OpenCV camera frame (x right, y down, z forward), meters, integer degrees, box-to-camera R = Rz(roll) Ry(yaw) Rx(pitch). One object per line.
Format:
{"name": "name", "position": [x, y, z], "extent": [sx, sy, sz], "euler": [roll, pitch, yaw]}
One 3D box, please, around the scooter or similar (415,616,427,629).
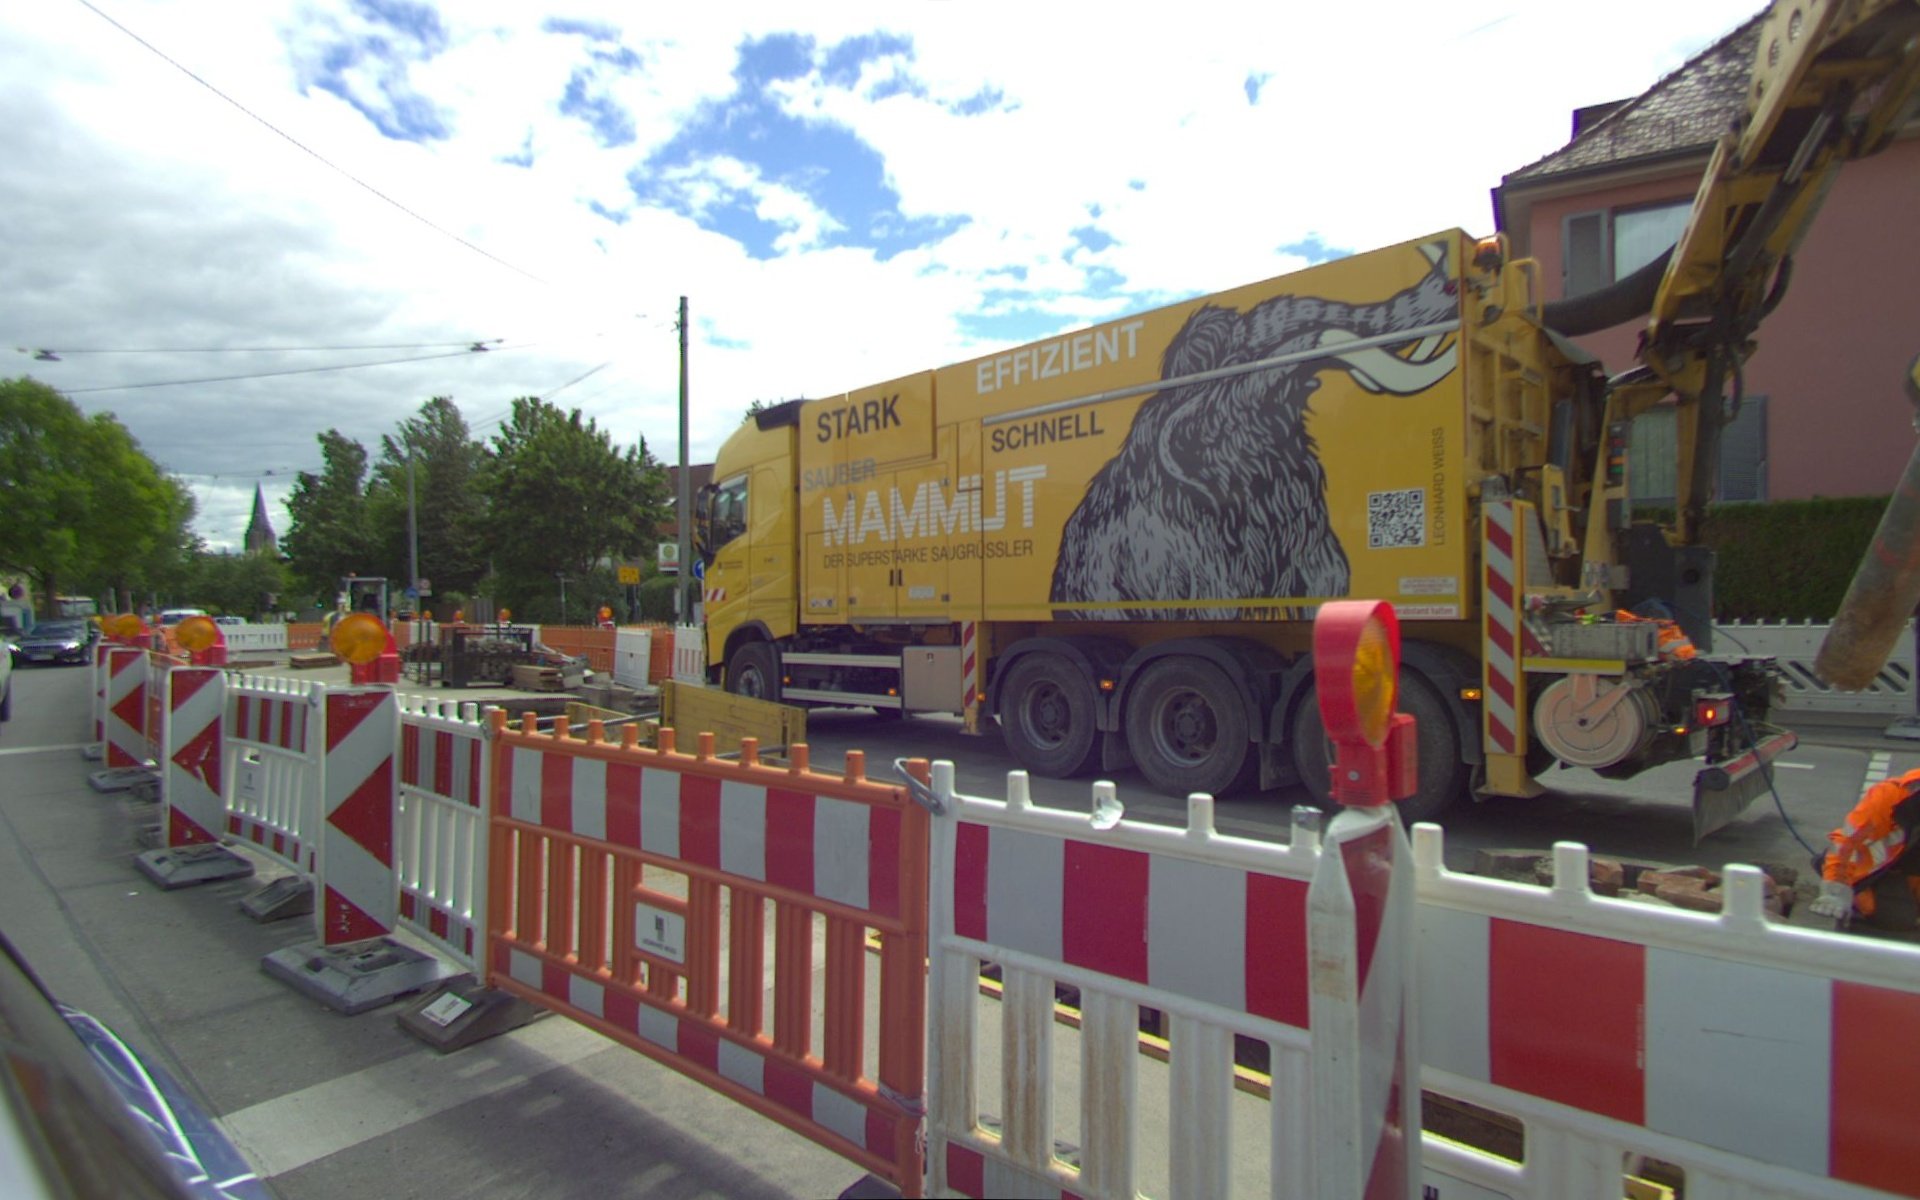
{"name": "scooter or similar", "position": [-36.997, 1.557, 69.430], "extent": [0.627, 0.871, 1.033], "euler": [-2, 0, -33]}

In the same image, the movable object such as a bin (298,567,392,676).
{"name": "movable object such as a bin", "position": [-16.805, 0.559, 27.920], "extent": [1.966, 2.645, 6.542], "euler": [-1, 0, -29]}

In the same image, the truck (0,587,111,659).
{"name": "truck", "position": [-47.326, 1.224, 51.535], "extent": [6.554, 3.222, 2.337], "euler": [-5, -1, 8]}

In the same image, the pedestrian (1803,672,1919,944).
{"name": "pedestrian", "position": [4.070, 0.826, 4.063], "extent": [0.779, 0.998, 0.814], "euler": [-1, 0, -29]}

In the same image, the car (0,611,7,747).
{"name": "car", "position": [-13.579, 0.717, 12.762], "extent": [5.515, 2.028, 1.971], "euler": [-1, 2, 44]}

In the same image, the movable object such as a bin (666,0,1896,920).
{"name": "movable object such as a bin", "position": [1.076, -0.623, 9.504], "extent": [2.560, 4.253, 11.131], "euler": [-1, 0, -43]}

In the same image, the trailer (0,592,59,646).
{"name": "trailer", "position": [-42.772, 0.918, 45.266], "extent": [2.557, 2.262, 5.690], "euler": [-4, 1, -31]}

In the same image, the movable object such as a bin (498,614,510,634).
{"name": "movable object such as a bin", "position": [-23.747, 1.257, 52.746], "extent": [0.469, 1.018, 0.496], "euler": [-1, -1, -37]}
